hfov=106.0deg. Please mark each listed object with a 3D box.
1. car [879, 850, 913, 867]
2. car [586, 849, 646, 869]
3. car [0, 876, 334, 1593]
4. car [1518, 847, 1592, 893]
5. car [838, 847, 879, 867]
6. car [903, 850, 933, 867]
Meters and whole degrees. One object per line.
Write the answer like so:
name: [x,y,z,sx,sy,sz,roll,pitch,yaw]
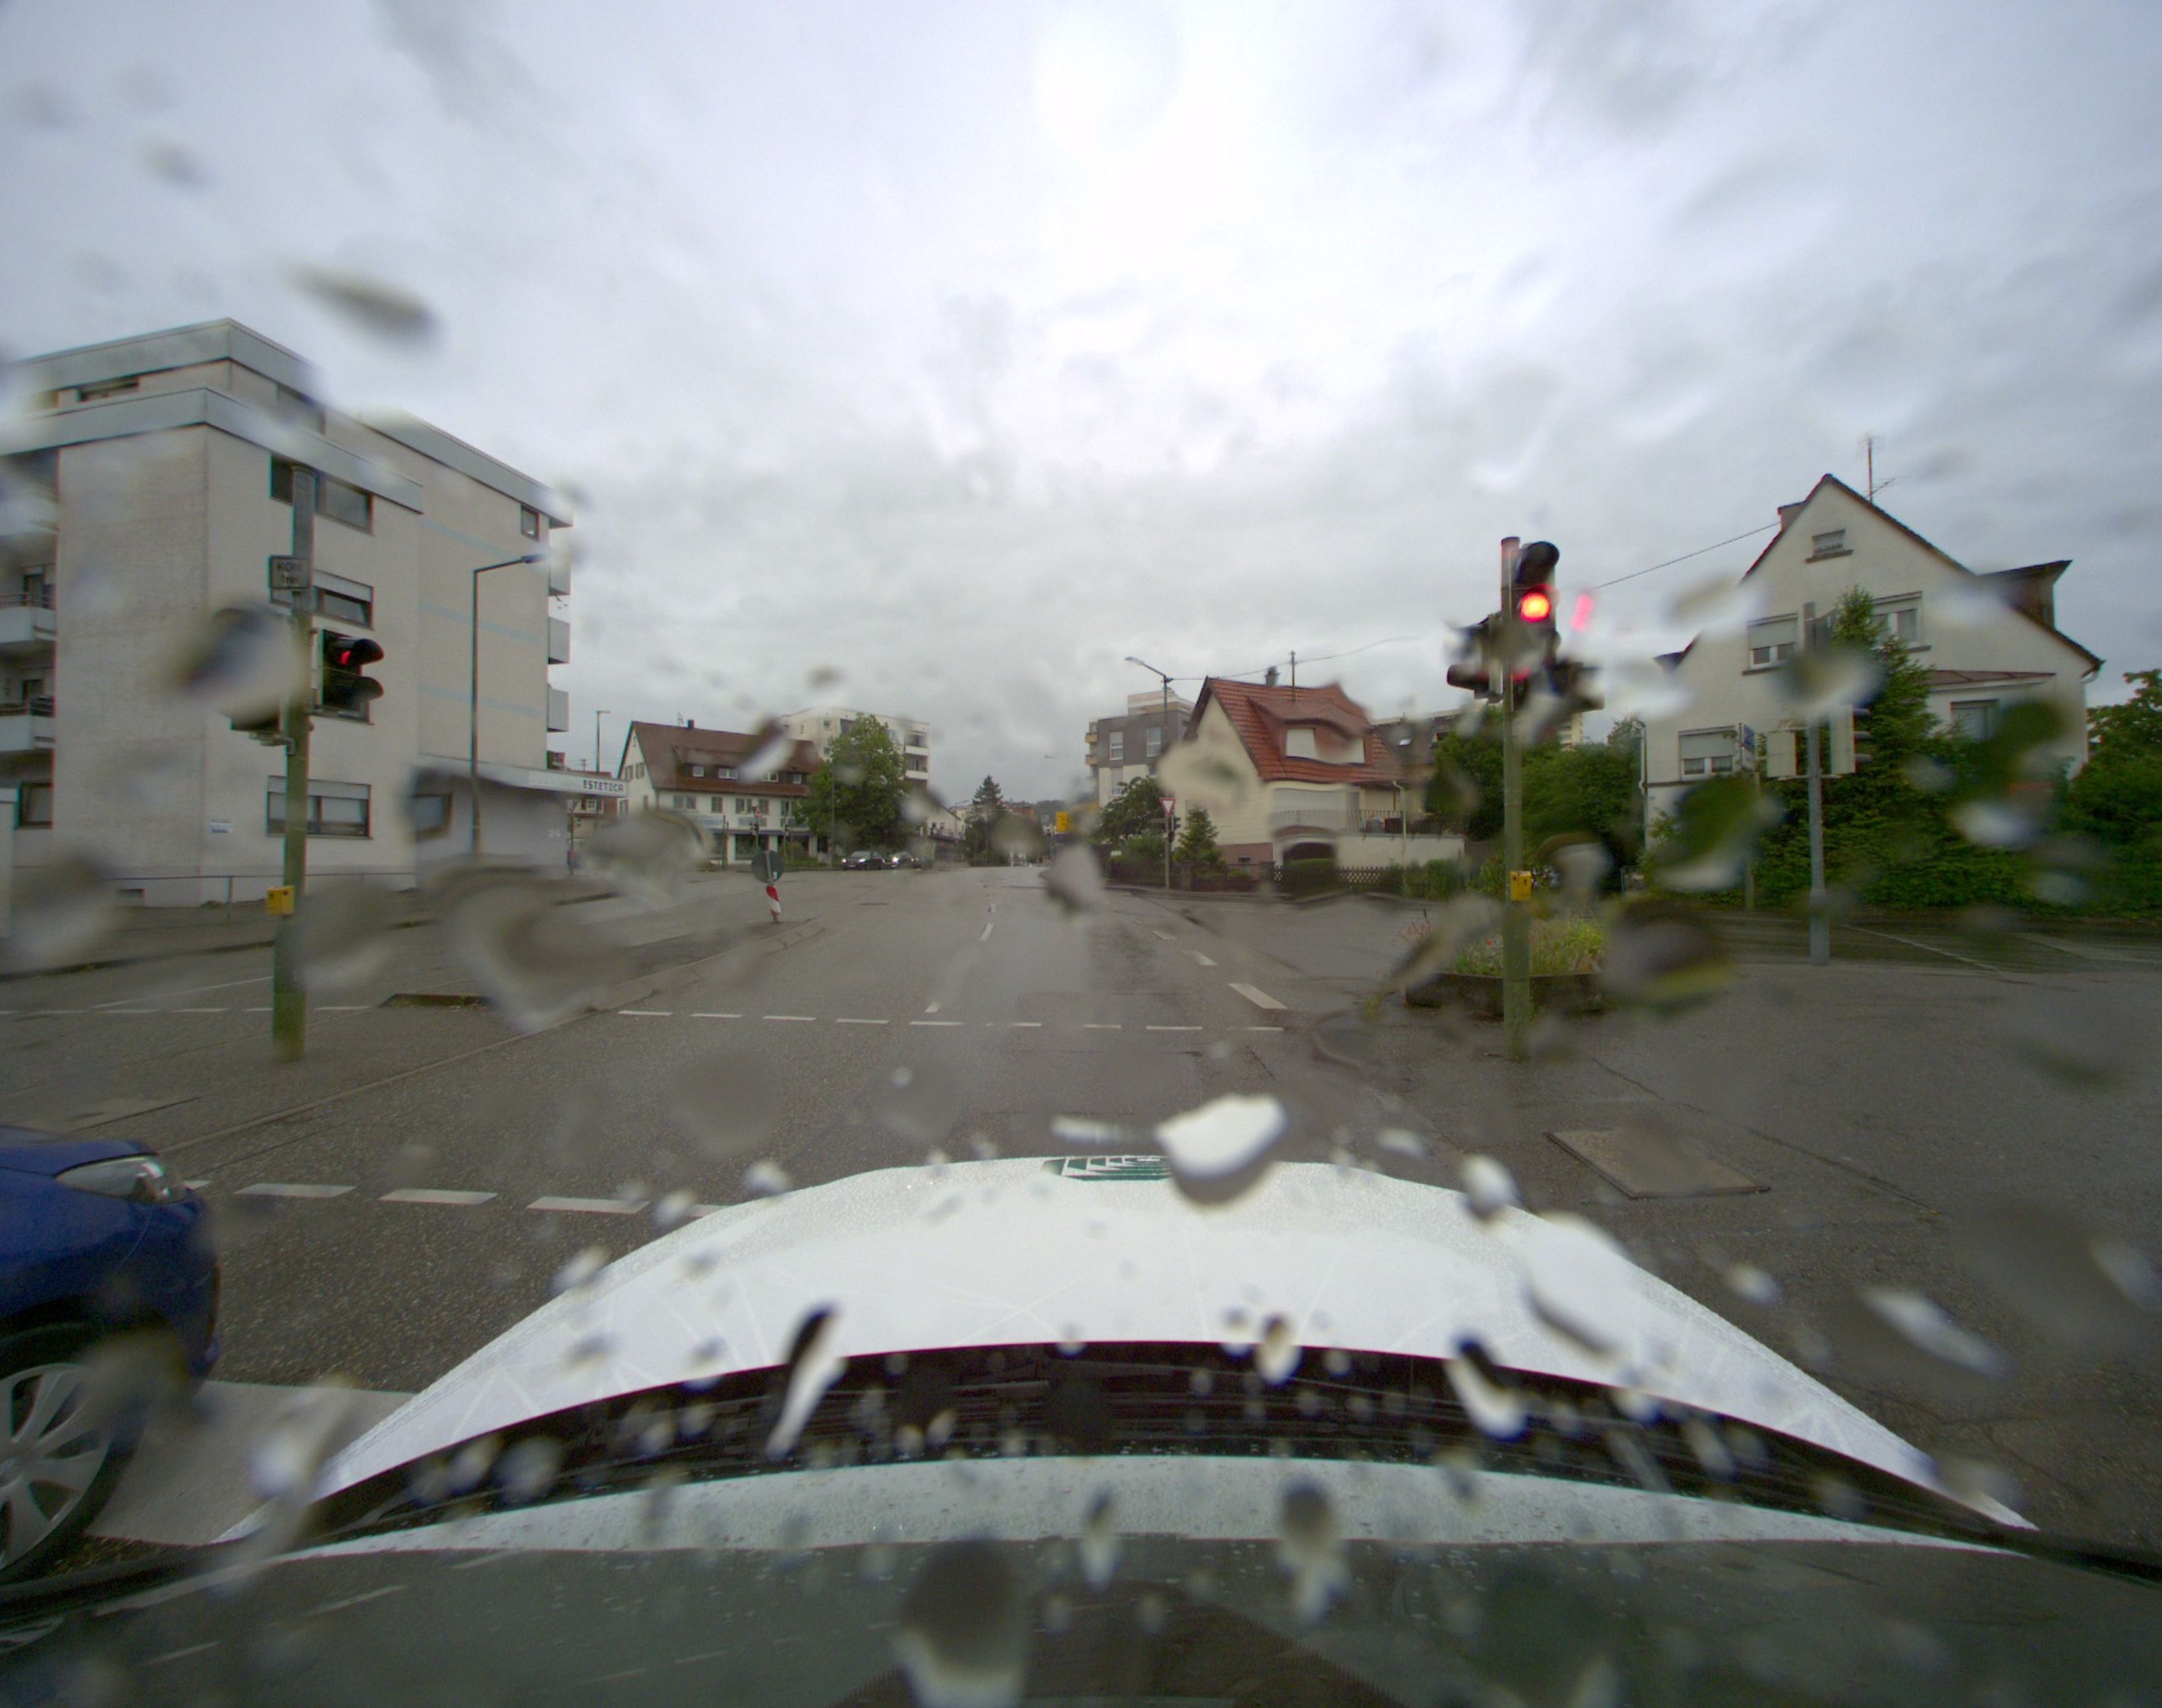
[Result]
car: [-14.955,0.353,66.162,1.708,1.387,4.022,0,0,2]
car: [-38.309,0.414,67.113,3.988,1.572,1.850,0,0,-42]
car: [-2.987,0.778,0.708,1.572,1.410,3.272,0,0,2]
car: [17.100,0.530,29.294,1.723,1.514,4.025,0,0,39]
car: [-16.000,0.215,58.758,1.772,1.420,3.832,0,0,2]
car: [-14.363,0.372,71.939,1.772,1.420,3.832,0,0,2]
